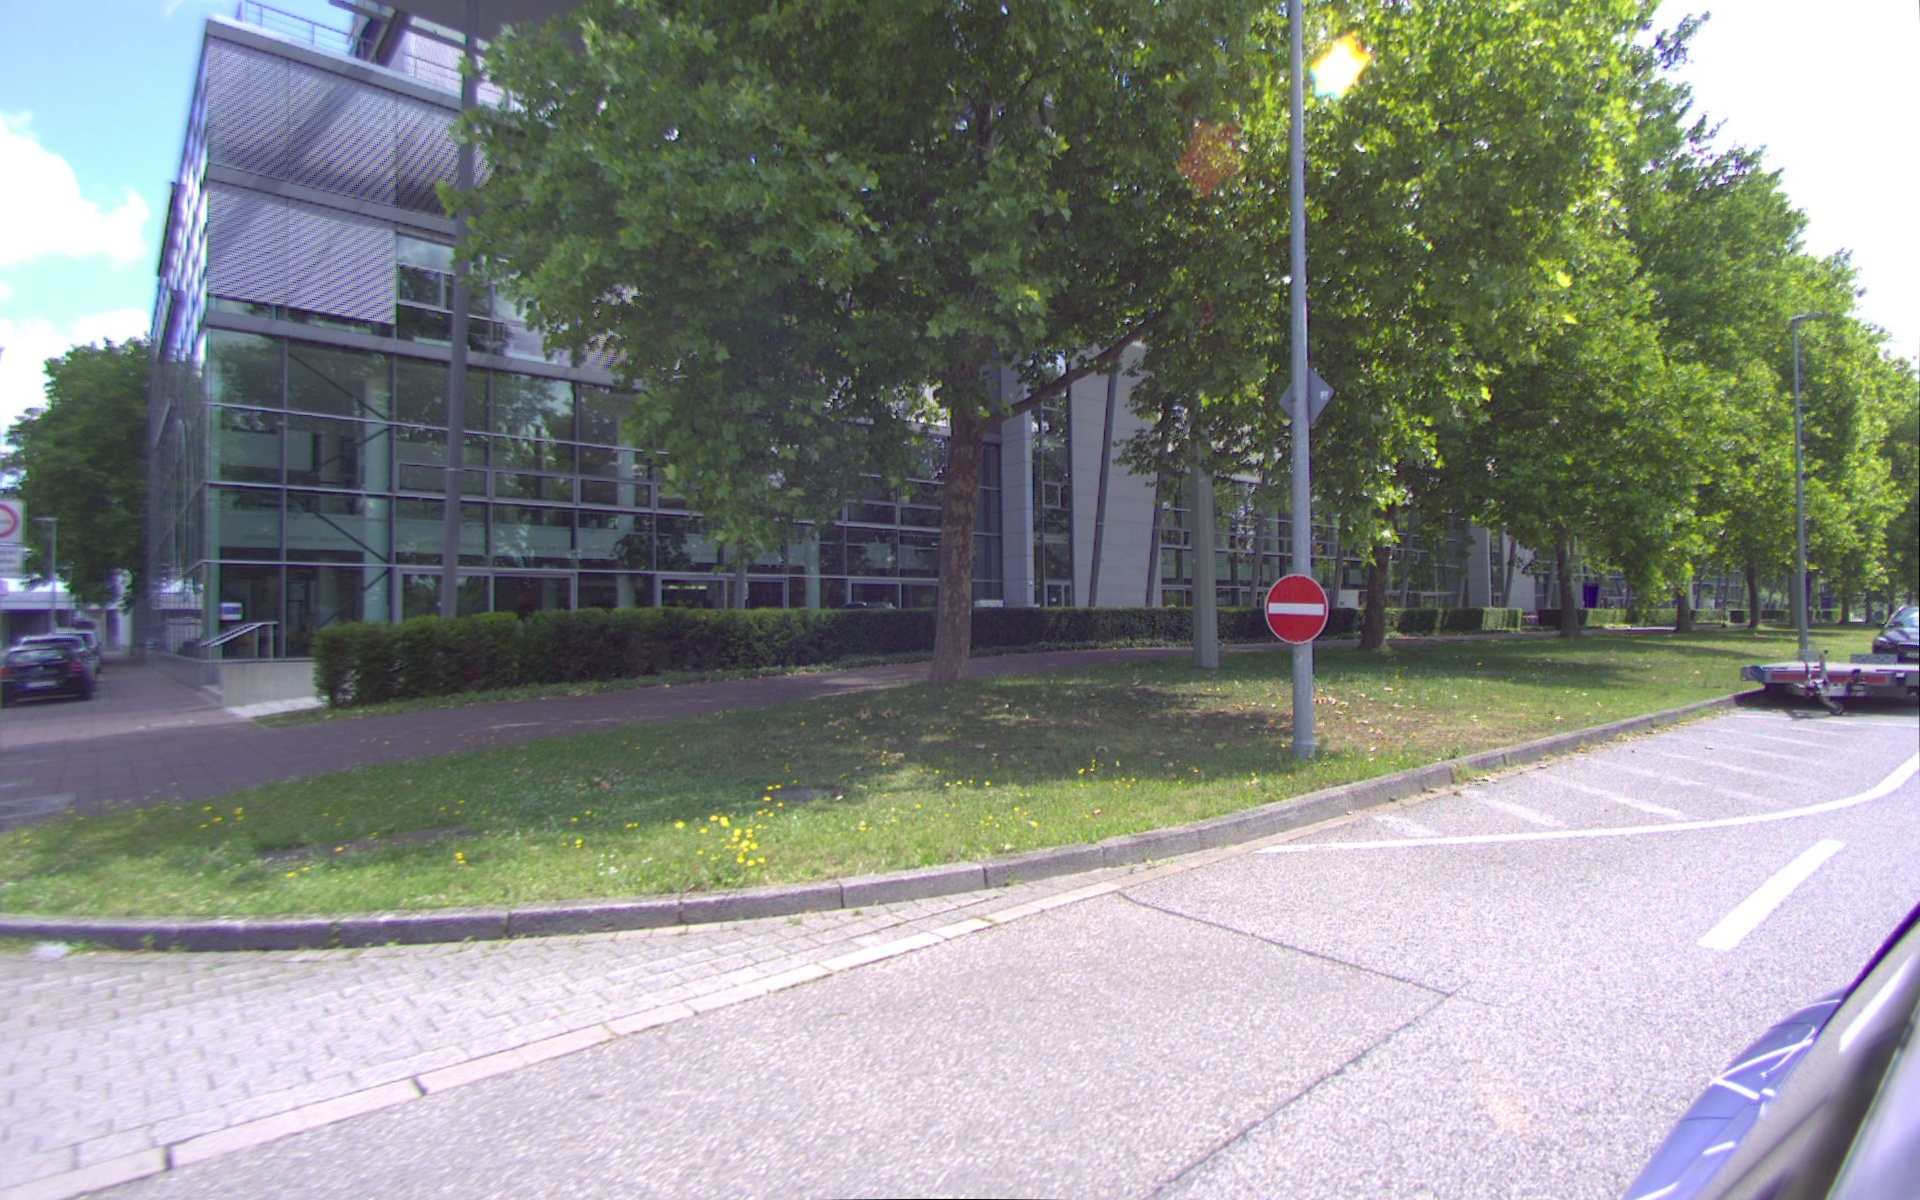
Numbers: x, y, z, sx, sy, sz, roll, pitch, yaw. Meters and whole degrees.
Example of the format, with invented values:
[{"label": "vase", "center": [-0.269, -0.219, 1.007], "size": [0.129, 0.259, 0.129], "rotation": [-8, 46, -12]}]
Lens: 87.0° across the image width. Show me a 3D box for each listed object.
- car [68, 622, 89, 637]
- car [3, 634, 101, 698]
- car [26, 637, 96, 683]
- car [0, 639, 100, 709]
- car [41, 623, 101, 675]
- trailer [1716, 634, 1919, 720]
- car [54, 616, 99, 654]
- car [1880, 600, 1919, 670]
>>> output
[{"label": "car", "center": [-112.288, 3.725, 128.976], "size": [1.786, 1.794, 3.995], "rotation": [-3, 0, -39]}, {"label": "car", "center": [-26.142, 1.839, 29.249], "size": [1.786, 1.567, 3.995], "rotation": [-4, 1, -39]}, {"label": "car", "center": [-34.768, 2.277, 39.220], "size": [1.786, 1.567, 3.995], "rotation": [-2, 0, -39]}, {"label": "car", "center": [-22.740, 1.778, 25.247], "size": [1.786, 1.435, 3.995], "rotation": [-4, 1, -39]}, {"label": "car", "center": [-38.935, 2.088, 44.389], "size": [1.785, 2.108, 3.995], "rotation": [-1, -1, -39]}, {"label": "trailer", "center": [13.873, 1.061, 15.494], "size": [6.700, 0.838, 2.301], "rotation": [0, 0, -41]}, {"label": "car", "center": [-57.875, 2.272, 66.326], "size": [1.959, 2.336, 4.597], "rotation": [-2, 0, -39]}, {"label": "car", "center": [22.761, 0.761, 23.353], "size": [3.669, 1.524, 1.807], "rotation": [0, -1, -41]}]
